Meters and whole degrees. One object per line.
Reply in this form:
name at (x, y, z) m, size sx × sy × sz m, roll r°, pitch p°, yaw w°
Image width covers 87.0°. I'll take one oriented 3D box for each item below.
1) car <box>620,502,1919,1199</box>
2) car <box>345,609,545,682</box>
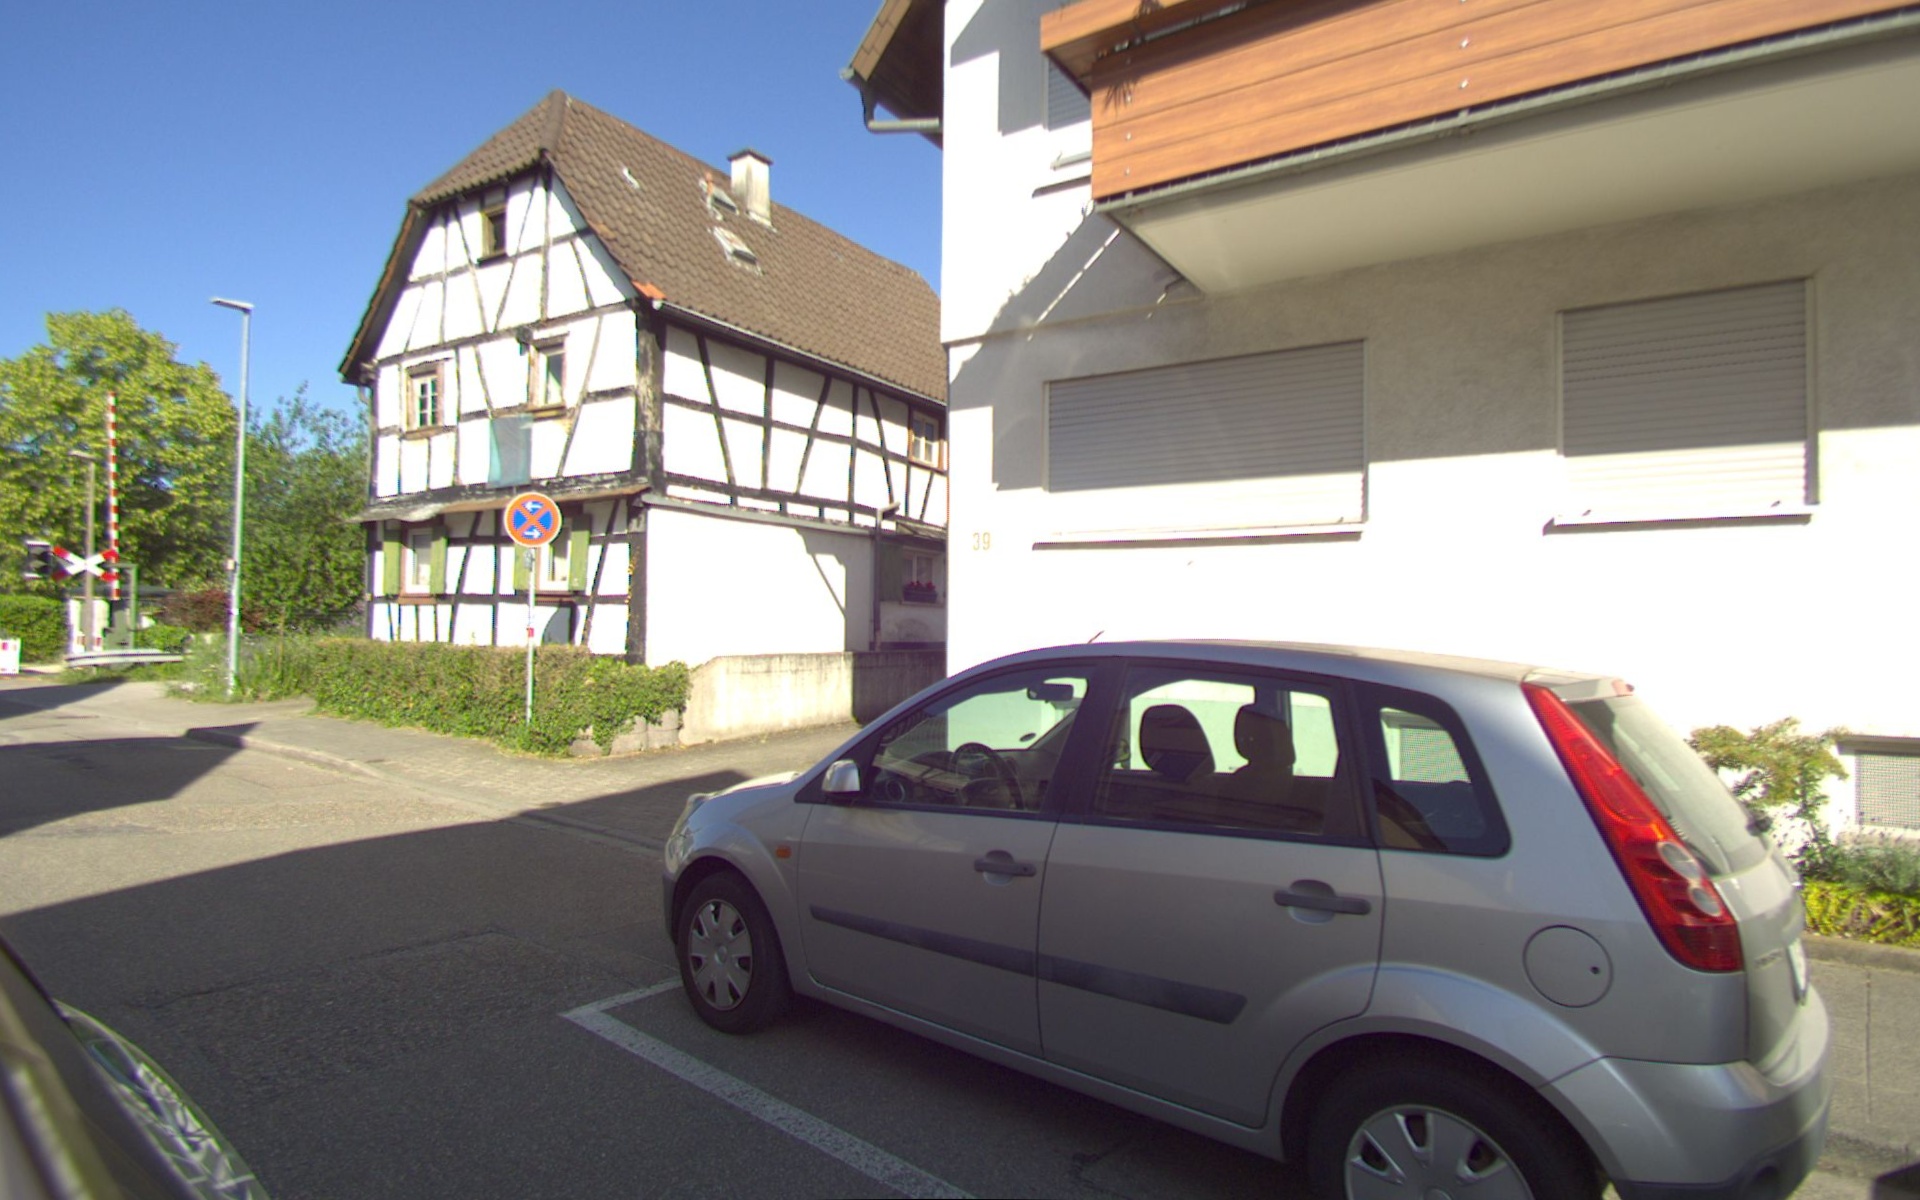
car at (0.676, 0.688, 3.356) m, size 3.850 × 1.517 × 1.614 m, roll -2°, pitch -5°, yaw 40°
car at (-12.226, 1.053, 24.243) m, size 3.936 × 1.576 × 1.692 m, roll -1°, pitch 1°, yaw -8°
